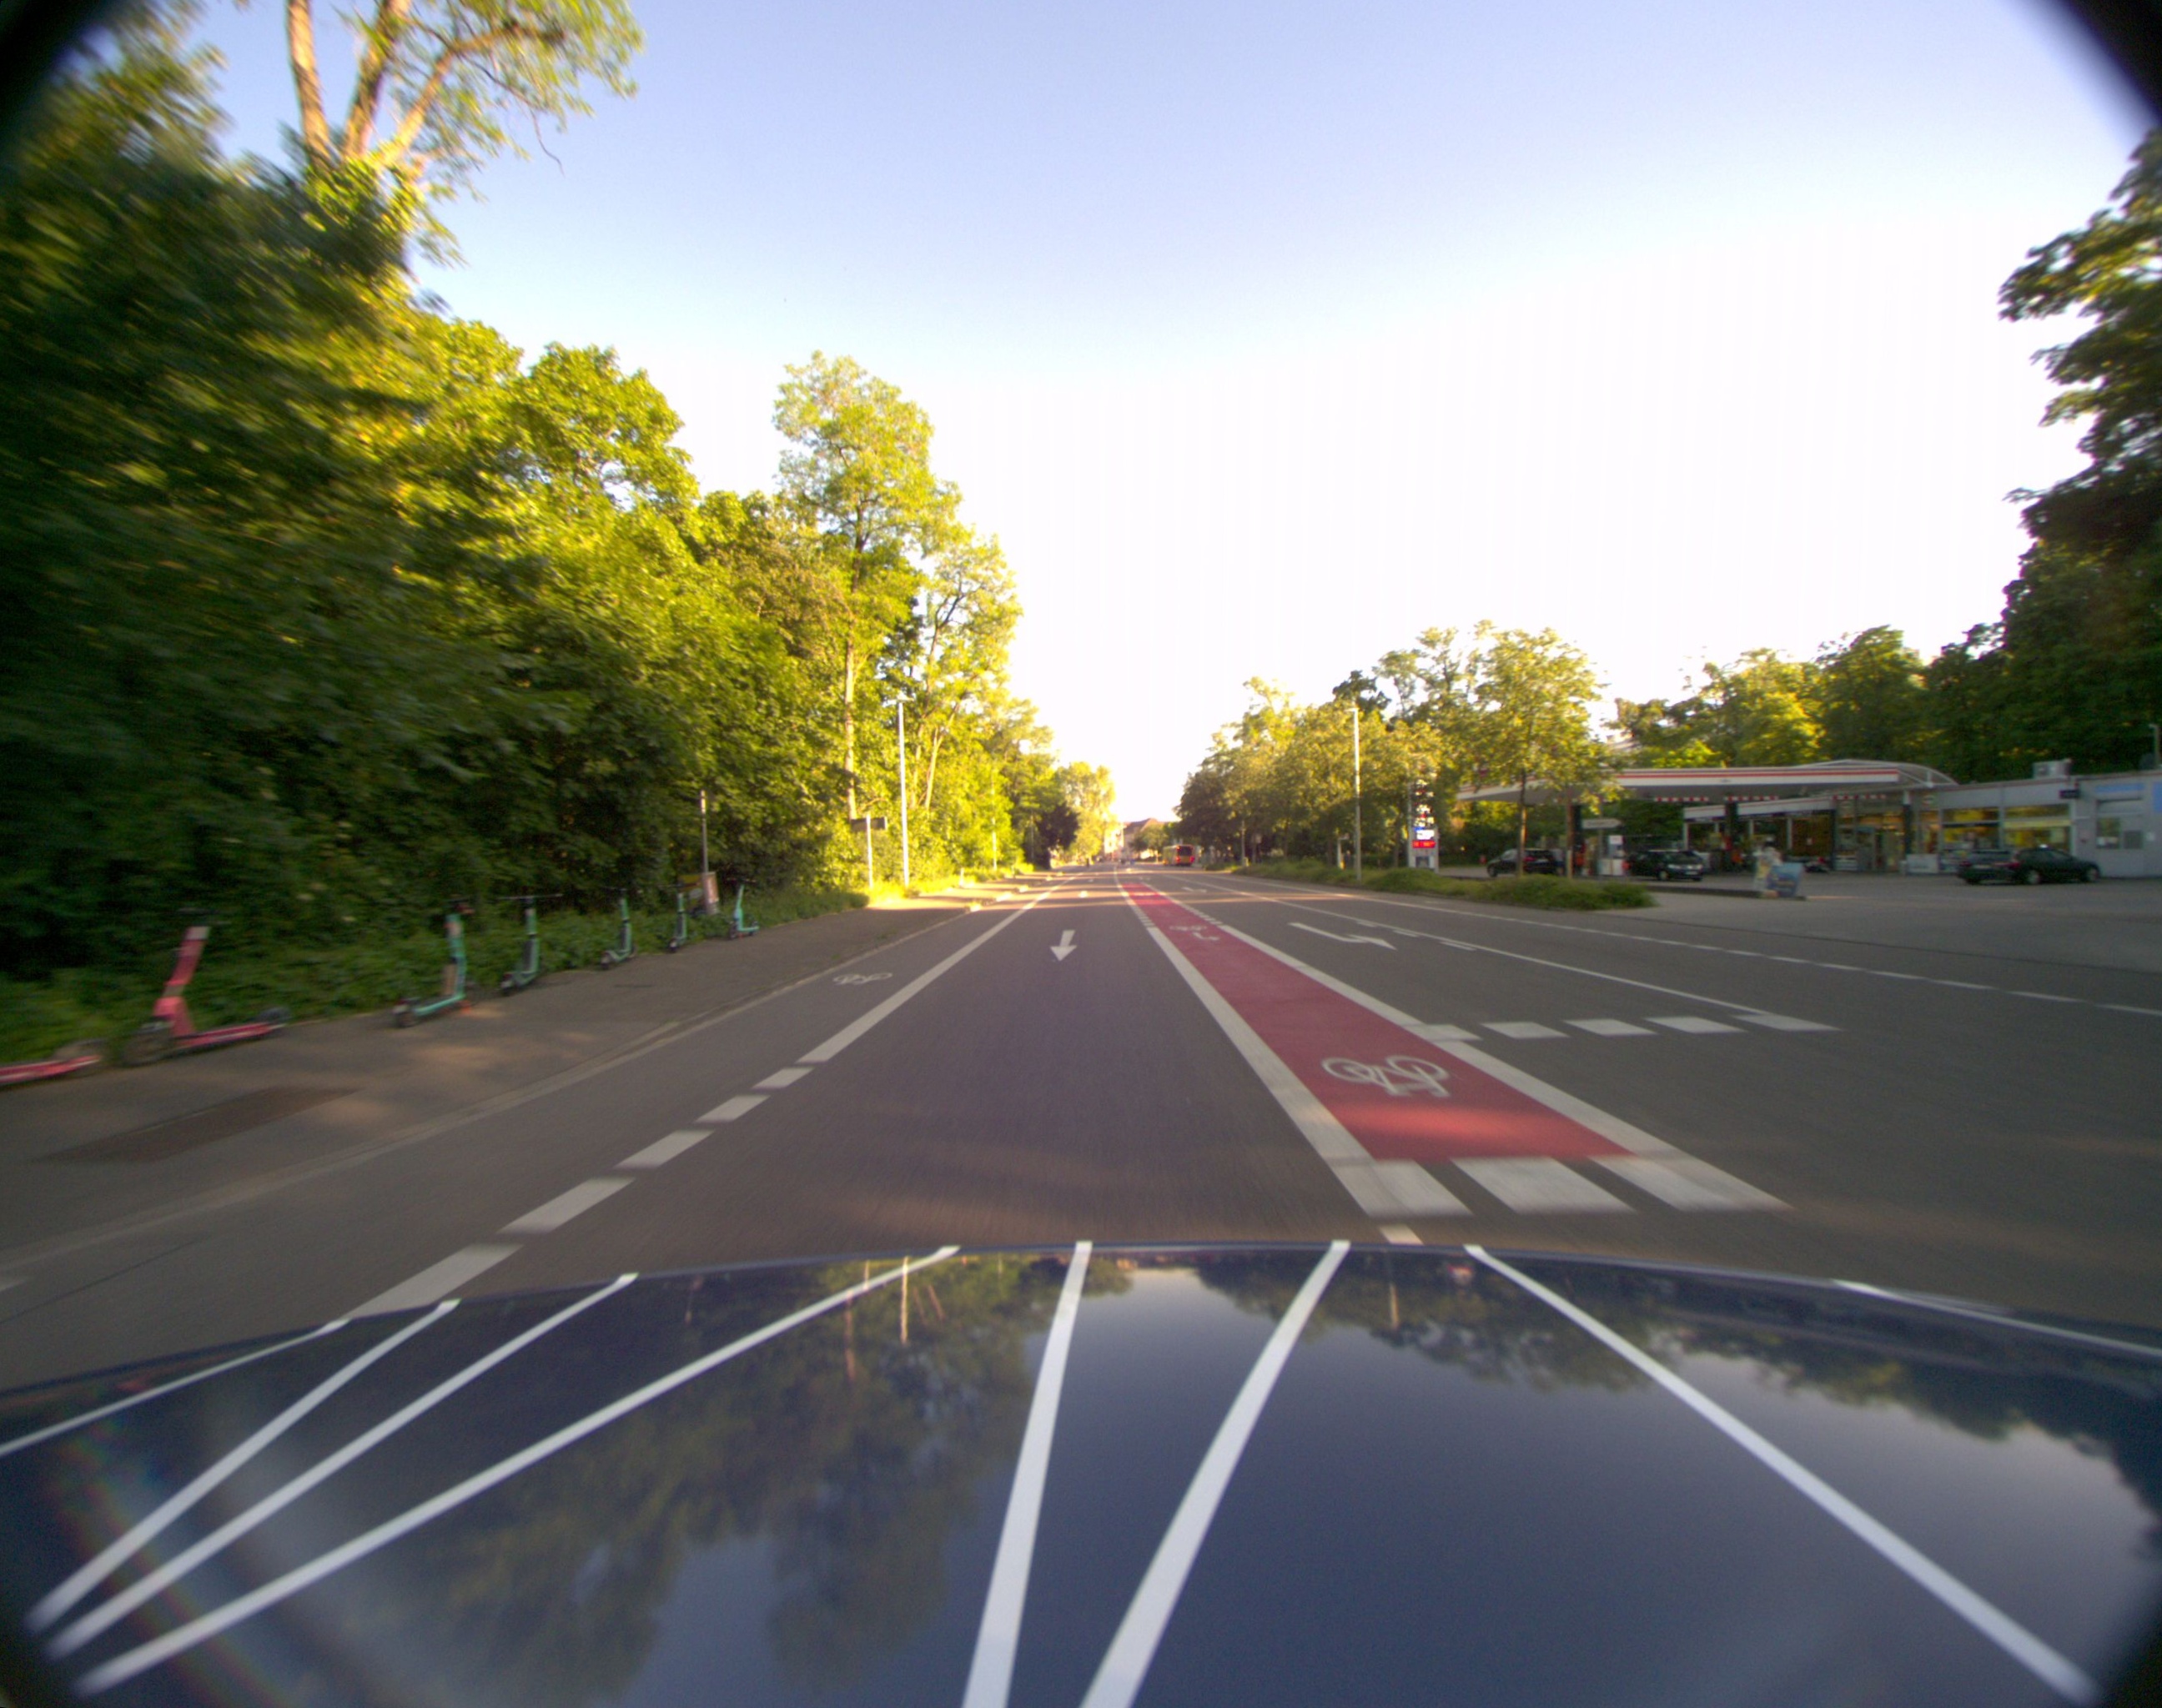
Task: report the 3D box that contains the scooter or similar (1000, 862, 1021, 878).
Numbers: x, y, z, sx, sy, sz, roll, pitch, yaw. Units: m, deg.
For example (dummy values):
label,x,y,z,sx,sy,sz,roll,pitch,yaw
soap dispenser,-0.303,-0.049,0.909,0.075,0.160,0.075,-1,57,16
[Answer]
label,x,y,z,sx,sy,sz,roll,pitch,yaw
scooter or similar,-5.481,1.221,59.038,1.544,1.242,0.533,-1,1,-42

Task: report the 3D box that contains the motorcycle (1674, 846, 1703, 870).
label,x,y,z,sx,sy,sz,roll,pitch,yaw
motorcycle,39.044,0.255,48.823,2.511,1.443,1.131,-1,0,-45

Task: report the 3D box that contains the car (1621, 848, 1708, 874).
label,x,y,z,sx,sy,sz,roll,pitch,yaw
car,32.342,0.388,42.252,1.715,1.368,4.060,-1,0,0

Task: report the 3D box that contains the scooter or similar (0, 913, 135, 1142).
label,x,y,z,sx,sy,sz,roll,pitch,yaw
scooter or similar,-7.278,1.142,4.912,0.683,1.415,1.246,-1,0,10

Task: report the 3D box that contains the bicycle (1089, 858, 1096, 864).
label,x,y,z,sx,sy,sz,roll,pitch,yaw
bicycle,1.911,1.165,127.158,0.694,1.089,2.138,-1,0,13

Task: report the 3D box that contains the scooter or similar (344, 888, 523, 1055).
label,x,y,z,sx,sy,sz,roll,pitch,yaw
scooter or similar,-6.467,1.096,7.717,0.684,1.415,1.679,-1,0,-14

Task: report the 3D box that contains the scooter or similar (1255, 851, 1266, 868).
label,x,y,z,sx,sy,sz,roll,pitch,yaw
scooter or similar,18.939,0.590,80.090,0.829,1.707,1.741,-1,0,2

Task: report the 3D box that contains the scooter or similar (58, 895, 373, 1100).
label,x,y,z,sx,sy,sz,roll,pitch,yaw
scooter or similar,-7.142,1.102,6.422,0.683,1.415,1.682,-1,0,1

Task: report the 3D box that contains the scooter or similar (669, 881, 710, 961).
label,x,y,z,sx,sy,sz,roll,pitch,yaw
scooter or similar,-6.977,1.165,13.582,0.467,1.299,1.478,-1,0,-21

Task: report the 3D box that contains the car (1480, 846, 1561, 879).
label,x,y,z,sx,sy,sz,roll,pitch,yaw
car,24.072,0.432,41.779,1.715,1.681,4.452,-1,0,-3

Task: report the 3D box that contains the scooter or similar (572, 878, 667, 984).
label,x,y,z,sx,sy,sz,roll,pitch,yaw
scooter or similar,-6.913,1.100,11.481,0.684,1.415,1.680,-1,0,-12

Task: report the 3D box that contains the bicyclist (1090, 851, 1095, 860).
label,x,y,z,sx,sy,sz,roll,pitch,yaw
bicyclist,1.945,0.239,127.297,0.694,1.482,0.801,-1,0,13

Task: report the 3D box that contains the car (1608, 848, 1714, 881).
label,x,y,z,sx,sy,sz,roll,pitch,yaw
car,28.109,0.486,37.042,1.715,1.489,4.578,-1,0,1

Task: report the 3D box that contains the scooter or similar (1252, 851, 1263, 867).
label,x,y,z,sx,sy,sz,roll,pitch,yaw
scooter or similar,19.051,0.576,82.031,0.829,1.707,1.741,-1,0,2

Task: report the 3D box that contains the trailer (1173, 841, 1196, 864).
label,x,y,z,sx,sy,sz,roll,pitch,yaw
trailer,16.374,-0.212,120.753,2.861,3.336,9.364,-3,0,4

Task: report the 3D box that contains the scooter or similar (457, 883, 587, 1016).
label,x,y,z,sx,sy,sz,roll,pitch,yaw
scooter or similar,-6.838,1.101,9.406,0.684,1.415,1.679,-1,0,-14

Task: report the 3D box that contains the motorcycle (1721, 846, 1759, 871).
label,x,y,z,sx,sy,sz,roll,pitch,yaw
motorcycle,38.968,0.268,44.987,1.131,1.443,2.751,-1,0,28

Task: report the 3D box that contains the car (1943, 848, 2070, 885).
label,x,y,z,sx,sy,sz,roll,pitch,yaw
car,35.928,0.477,29.532,3.635,1.345,1.714,-1,0,-13

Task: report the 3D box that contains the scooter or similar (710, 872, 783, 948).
label,x,y,z,sx,sy,sz,roll,pitch,yaw
scooter or similar,-6.761,1.101,15.430,0.684,1.415,1.682,-1,0,1

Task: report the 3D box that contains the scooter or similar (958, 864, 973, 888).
label,x,y,z,sx,sy,sz,roll,pitch,yaw
scooter or similar,-6.238,1.158,41.196,0.534,1.242,1.541,-1,0,1

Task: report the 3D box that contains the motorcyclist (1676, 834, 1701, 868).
label,x,y,z,sx,sy,sz,roll,pitch,yaw
motorcyclist,38.953,-0.185,48.731,1.018,2.169,1.121,-1,1,-44
